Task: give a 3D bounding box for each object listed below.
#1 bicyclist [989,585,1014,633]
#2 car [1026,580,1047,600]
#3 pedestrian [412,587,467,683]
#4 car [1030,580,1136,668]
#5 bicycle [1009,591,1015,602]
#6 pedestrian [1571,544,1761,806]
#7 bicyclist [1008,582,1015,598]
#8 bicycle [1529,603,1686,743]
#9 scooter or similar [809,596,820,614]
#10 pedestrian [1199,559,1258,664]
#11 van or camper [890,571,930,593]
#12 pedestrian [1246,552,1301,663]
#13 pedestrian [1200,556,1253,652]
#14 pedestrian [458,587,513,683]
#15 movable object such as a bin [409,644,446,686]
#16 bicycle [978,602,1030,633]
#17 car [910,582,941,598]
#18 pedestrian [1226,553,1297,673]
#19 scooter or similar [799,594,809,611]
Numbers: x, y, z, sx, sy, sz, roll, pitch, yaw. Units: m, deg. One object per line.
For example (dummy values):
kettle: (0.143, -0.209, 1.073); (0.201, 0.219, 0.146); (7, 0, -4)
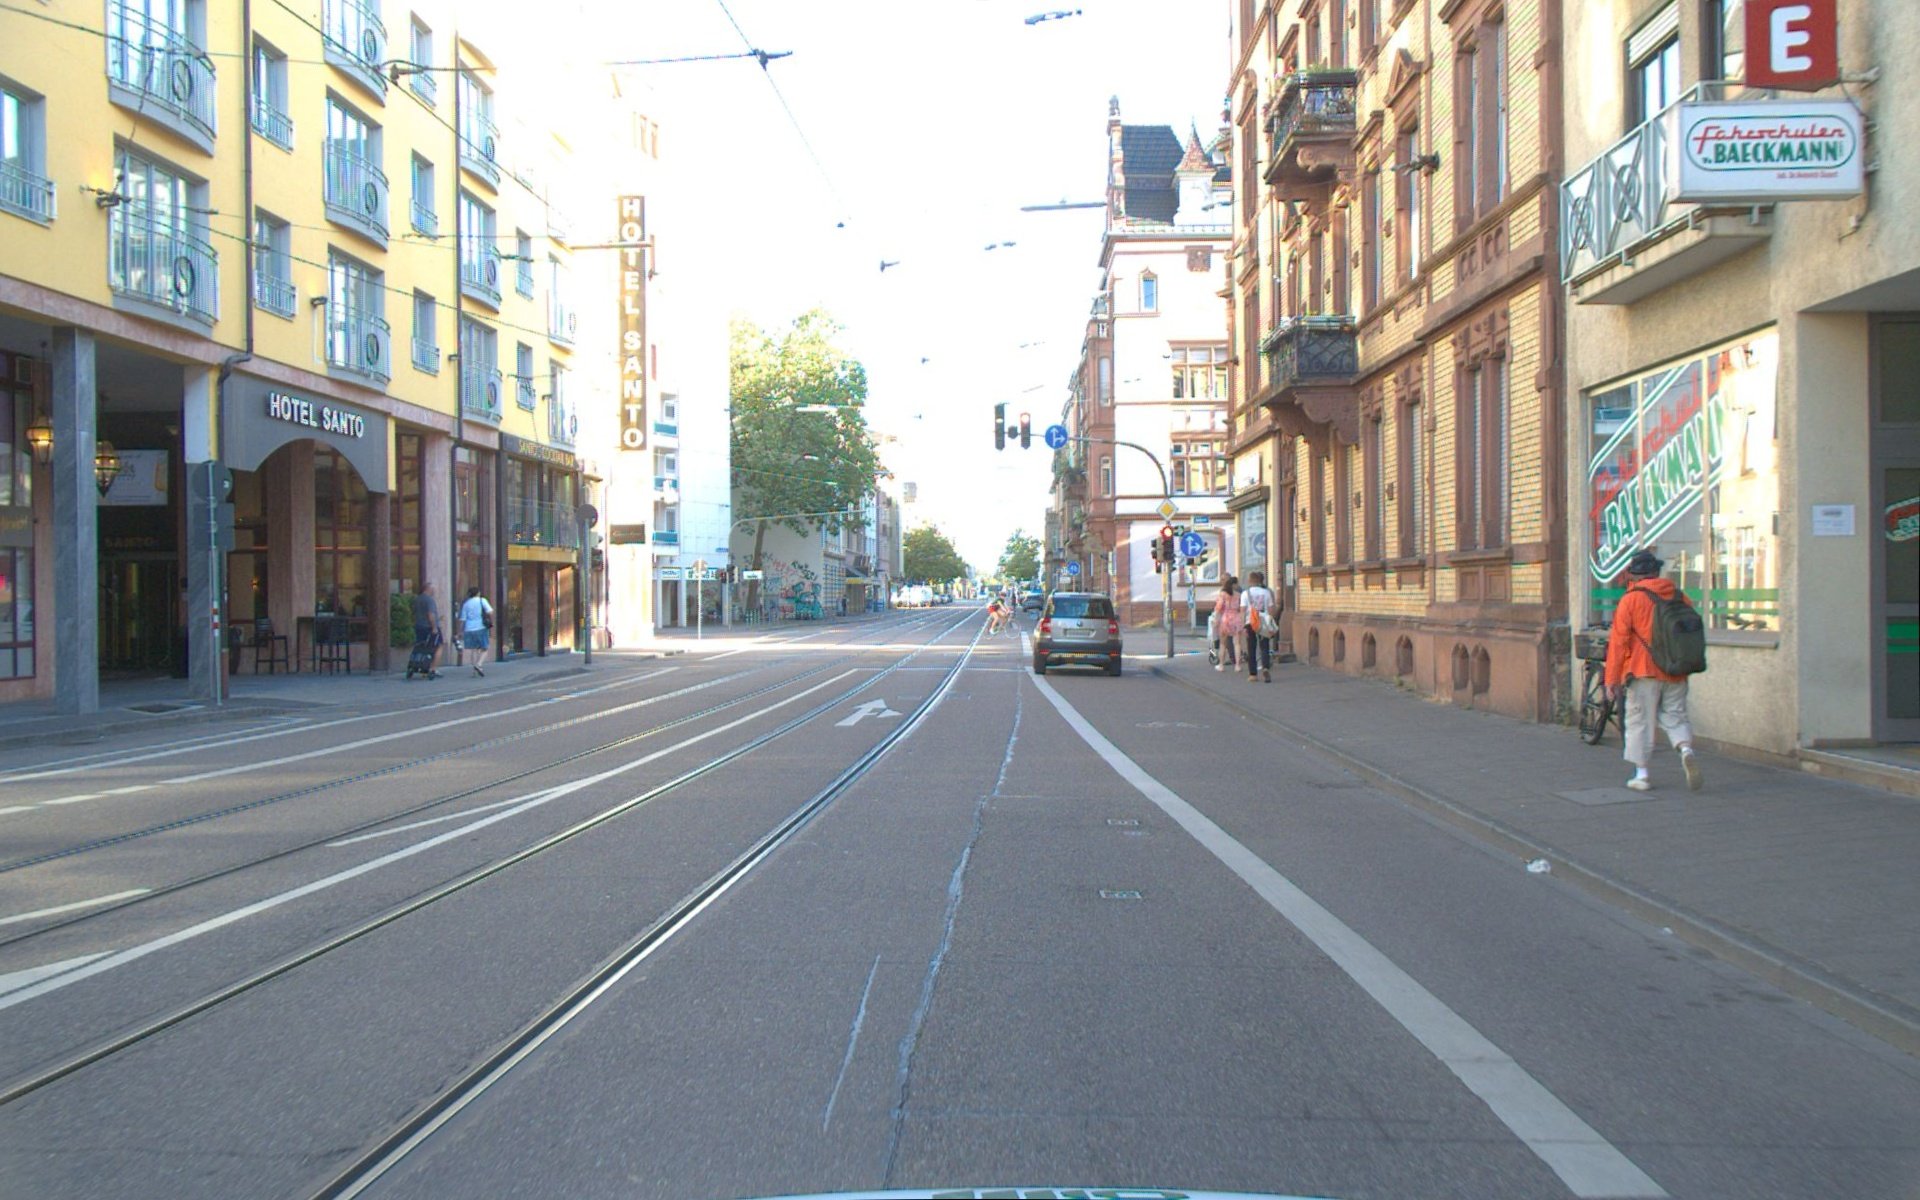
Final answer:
bicyclist: (1.445, 0.303, 57.221); (0.724, 1.662, 0.608); (0, 0, 16)
car: (7.242, -0.978, 156.895); (1.909, 1.713, 4.002); (-2, 1, 3)
pedestrian: (-10.121, 0.676, 32.167); (0.781, 1.801, 0.750); (2, 2, 1)
car: (2.500, 0.444, 34.477); (1.952, 1.646, 4.001); (-1, 1, 1)
bicycle: (5.193, -0.383, 166.058); (0.563, 1.048, 1.896); (-2, 1, 3)
pedestrian: (4.881, 0.493, 11.494); (0.782, 1.654, 0.826); (-8, 1, 2)
bicyclist: (5.164, -1.023, 166.042); (0.563, 1.581, 0.595); (-2, 1, 3)
bicycle: (5.900, 0.626, 15.209); (0.543, 1.079, 2.312); (-5, 1, 2)
scooter or similar: (-9.554, 0.327, 108.537); (0.506, 1.075, 1.478); (-2, 1, 0)
pedestrian: (4.952, 0.194, 30.576); (0.789, 1.830, 0.762); (-6, 2, 0)
van or camper: (-6.246, -2.218, 207.275); (4.585, 2.608, 1.980); (-2, 1, -30)
pedestrian: (5.726, 0.130, 30.229); (0.677, 1.940, 0.670); (-6, 2, 0)
pedestrian: (5.365, 0.072, 33.326); (0.789, 1.830, 0.762); (-6, 2, 2)
pedestrian: (-9.513, 0.682, 33.177); (0.736, 1.850, 1.046); (2, 2, 1)
movable object such as a bin: (-10.102, 1.228, 31.387); (0.375, 0.728, 0.841); (2, 2, 3)
bicycle: (1.530, 0.611, 57.203); (1.678, 1.052, 0.599); (0, 0, 17)
car: (-5.074, -1.484, 243.050); (3.934, 2.048, 1.986); (-3, 1, -24)
pedestrian: (4.930, 0.190, 27.093); (0.789, 1.830, 1.092); (-6, 2, 0)
scooter or similar: (-10.244, 0.155, 108.514); (0.506, 1.063, 1.478); (-2, 1, 0)
